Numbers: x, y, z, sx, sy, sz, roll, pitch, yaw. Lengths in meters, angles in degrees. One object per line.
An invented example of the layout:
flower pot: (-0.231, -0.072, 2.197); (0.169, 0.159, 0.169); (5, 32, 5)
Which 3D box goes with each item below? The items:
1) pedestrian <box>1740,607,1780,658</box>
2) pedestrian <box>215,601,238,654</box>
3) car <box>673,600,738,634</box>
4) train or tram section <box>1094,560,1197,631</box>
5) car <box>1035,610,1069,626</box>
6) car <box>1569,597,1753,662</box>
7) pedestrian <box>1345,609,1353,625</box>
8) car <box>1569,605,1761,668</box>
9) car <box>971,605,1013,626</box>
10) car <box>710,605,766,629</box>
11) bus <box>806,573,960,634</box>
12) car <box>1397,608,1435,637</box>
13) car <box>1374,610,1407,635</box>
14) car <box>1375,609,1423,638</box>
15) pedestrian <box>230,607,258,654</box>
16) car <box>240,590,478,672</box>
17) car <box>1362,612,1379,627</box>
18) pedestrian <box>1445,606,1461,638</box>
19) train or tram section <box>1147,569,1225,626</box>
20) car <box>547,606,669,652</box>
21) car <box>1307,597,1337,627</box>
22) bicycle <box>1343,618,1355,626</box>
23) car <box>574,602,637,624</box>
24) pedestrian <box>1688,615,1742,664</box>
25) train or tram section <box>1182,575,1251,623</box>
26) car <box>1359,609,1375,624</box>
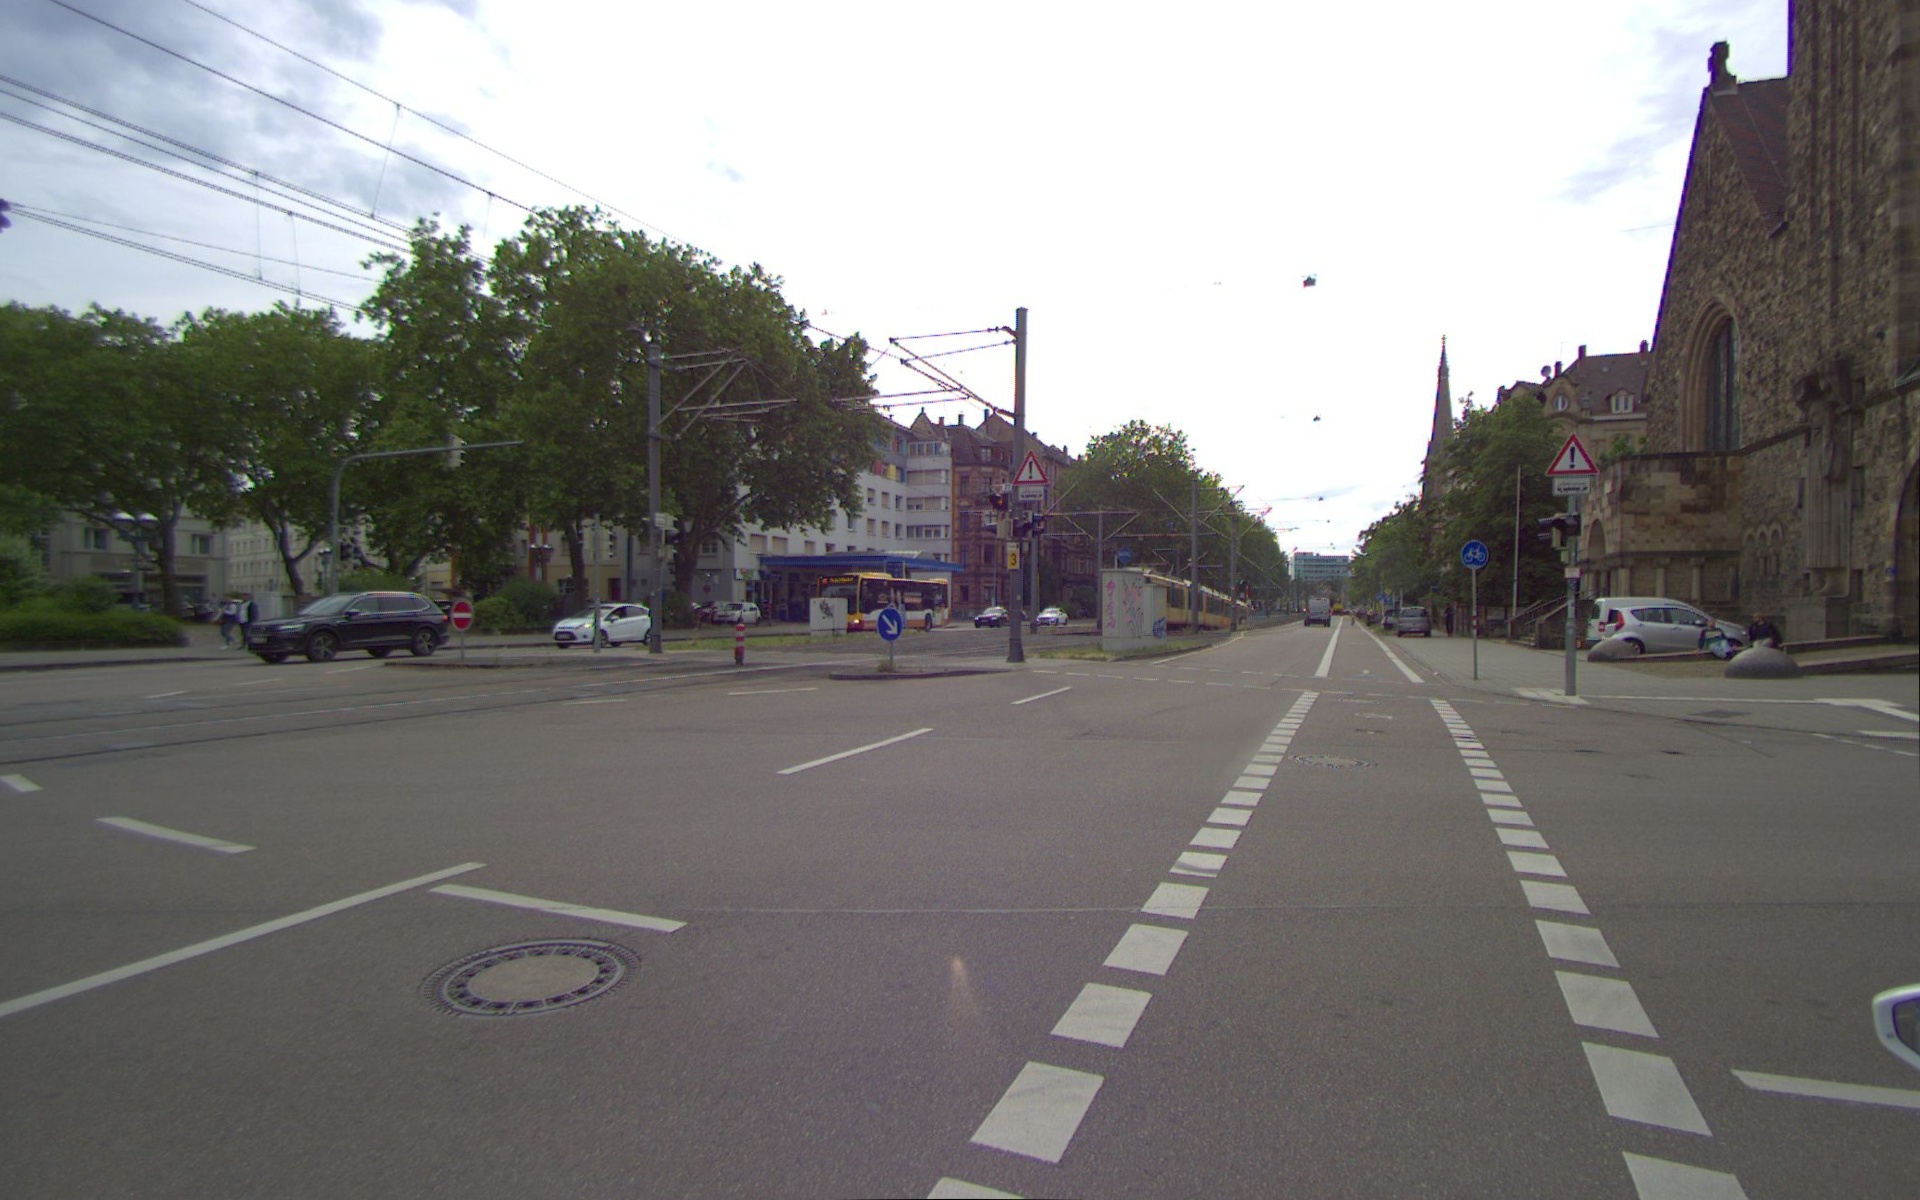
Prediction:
pedestrian: (20.562, 0.828, 25.820); (0.727, 1.245, 1.059); (2, 0, 36)
pedestrian: (-20.900, 0.782, 28.614); (0.355, 1.498, 0.374); (0, 0, 15)
car: (-15.591, 1.023, 61.782); (1.961, 2.040, 3.999); (0, 0, 21)
train or tram section: (12.626, -0.236, 66.733); (3.584, 4.147, 15.032); (1, 0, 22)
car: (7.571, 1.451, 82.169); (1.675, 1.237, 3.889); (1, 0, 22)
car: (22.448, 0.906, 32.368); (4.535, 1.906, 1.662); (1, 0, 21)
pedestrian: (37.822, 1.647, 97.708); (0.640, 1.493, 0.651); (0, 0, 12)
car: (20.507, 1.019, 29.435); (4.278, 1.658, 1.662); (1, 0, 21)
car: (2.274, 1.085, 70.171); (1.675, 1.377, 3.889); (1, 0, 22)
car: (-13.358, 1.014, 60.569); (1.675, 1.377, 3.403); (1, 0, 22)
bus: (-3.817, 0.194, 54.810); (3.228, 2.894, 12.376); (1, 0, 22)
car: (24.908, 1.209, 54.973); (1.675, 1.478, 3.889); (1, 0, 22)
car: (29.753, 1.539, 69.551); (1.961, 1.606, 3.999); (0, 0, 21)
car: (28.153, 1.449, 64.552); (2.165, 1.769, 5.036); (0, 0, 16)
pedestrian: (-20.491, 0.866, 28.757); (0.447, 1.343, 0.470); (0, 0, 15)
car: (-14.799, 0.712, 25.144); (1.675, 1.807, 5.148); (1, 0, 22)
car: (53.942, 2.496, 131.907); (1.961, 1.907, 3.999); (0, 0, 21)
pedestrian: (26.705, 1.179, 54.414); (0.764, 1.669, 0.797); (2, 0, 27)
train or tram section: (18.339, -0.137, 80.562); (3.512, 4.147, 15.032); (1, 0, 22)
car: (-11.672, 0.928, 33.568); (1.675, 1.416, 3.889); (1, 0, 22)
car: (33.543, 1.110, 93.200); (2.470, 2.641, 5.828); (1, 0, 20)
bicycle: (37.774, 2.138, 97.575); (0.600, 0.663, 2.382); (1, -1, 10)
car: (-22.961, 0.830, 65.132); (1.675, 1.377, 3.889); (1, 0, 22)
pedestrian: (19.672, 1.009, 26.198); (0.724, 1.207, 1.493); (1, 0, 21)
train or tram section: (24.962, -0.010, 96.736); (3.558, 4.147, 19.940); (1, 0, 22)
car: (60.537, 2.439, 149.344); (1.961, 2.040, 4.000); (1, 0, 20)
